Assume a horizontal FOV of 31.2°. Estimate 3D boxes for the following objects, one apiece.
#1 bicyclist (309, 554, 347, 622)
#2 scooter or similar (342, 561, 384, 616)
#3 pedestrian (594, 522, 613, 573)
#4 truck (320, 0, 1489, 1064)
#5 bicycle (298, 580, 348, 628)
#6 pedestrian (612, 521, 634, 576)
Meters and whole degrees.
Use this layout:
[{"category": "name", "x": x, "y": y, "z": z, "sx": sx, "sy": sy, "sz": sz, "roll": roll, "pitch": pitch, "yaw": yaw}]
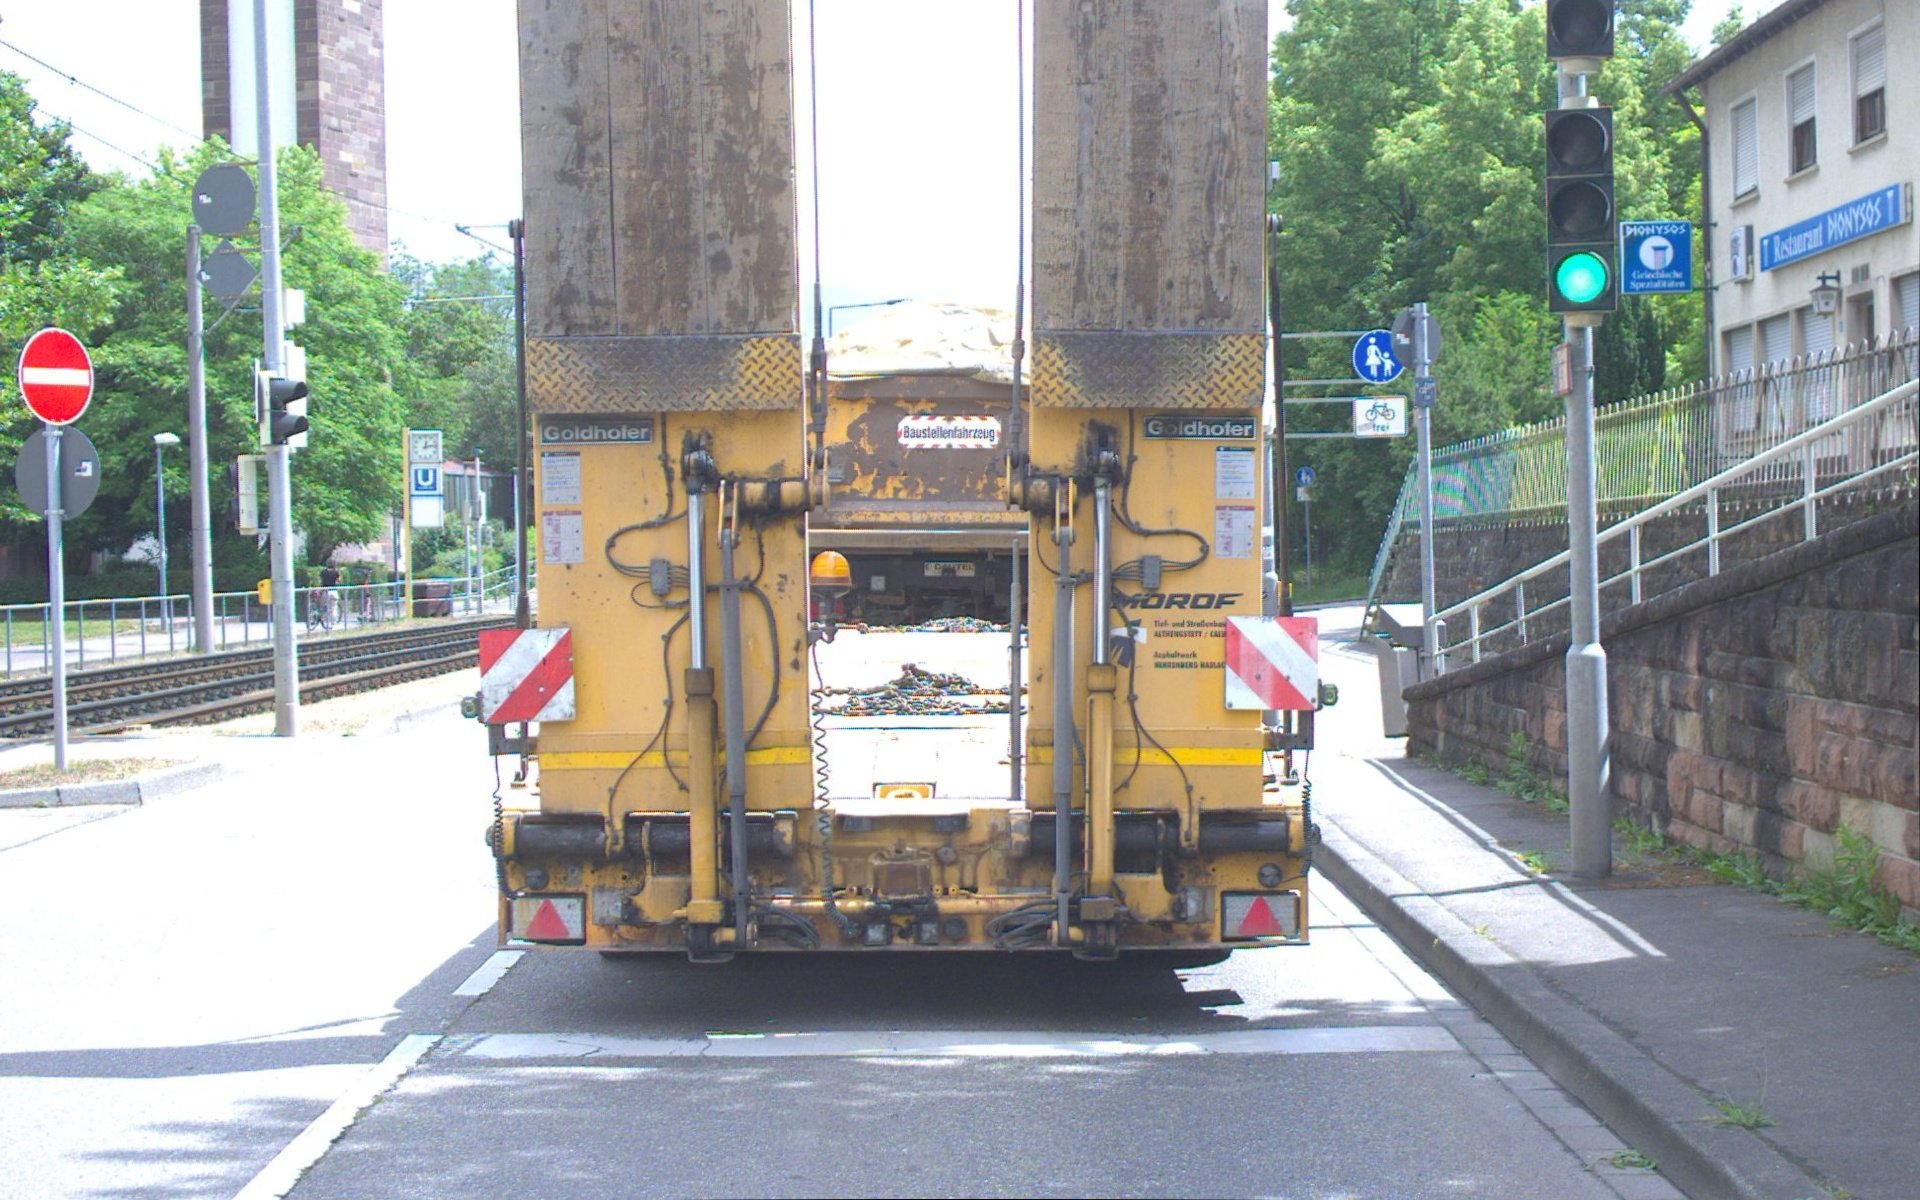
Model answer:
[{"category": "bicyclist", "x": -13.427, "y": -0.251, "z": 73.089, "sx": 0.633, "sy": 1.424, "sz": 0.790, "roll": 1, "pitch": 0, "yaw": 2}, {"category": "scooter or similar", "x": -13.697, "y": -0.270, "z": 78.922, "sx": 0.649, "sy": 1.233, "sz": 1.401, "roll": 1, "pitch": 1, "yaw": 2}, {"category": "pedestrian", "x": -12.586, "y": -1.846, "z": 121.336, "sx": 0.584, "sy": 1.771, "sz": 0.576, "roll": 1, "pitch": 0, "yaw": 2}, {"category": "truck", "x": -0.242, "y": -0.585, "z": 17.000, "sx": 3.402, "sy": 3.719, "sz": 13.739, "roll": -1, "pitch": 1, "yaw": -1}, {"category": "bicycle", "x": -13.474, "y": 0.075, "z": 72.738, "sx": 0.637, "sy": 0.990, "sz": 1.928, "roll": 1, "pitch": 1, "yaw": 2}, {"category": "pedestrian", "x": -12.351, "y": -1.892, "z": 125.952, "sx": 0.712, "sy": 2.007, "sz": 0.732, "roll": 1, "pitch": 0, "yaw": 0}]
